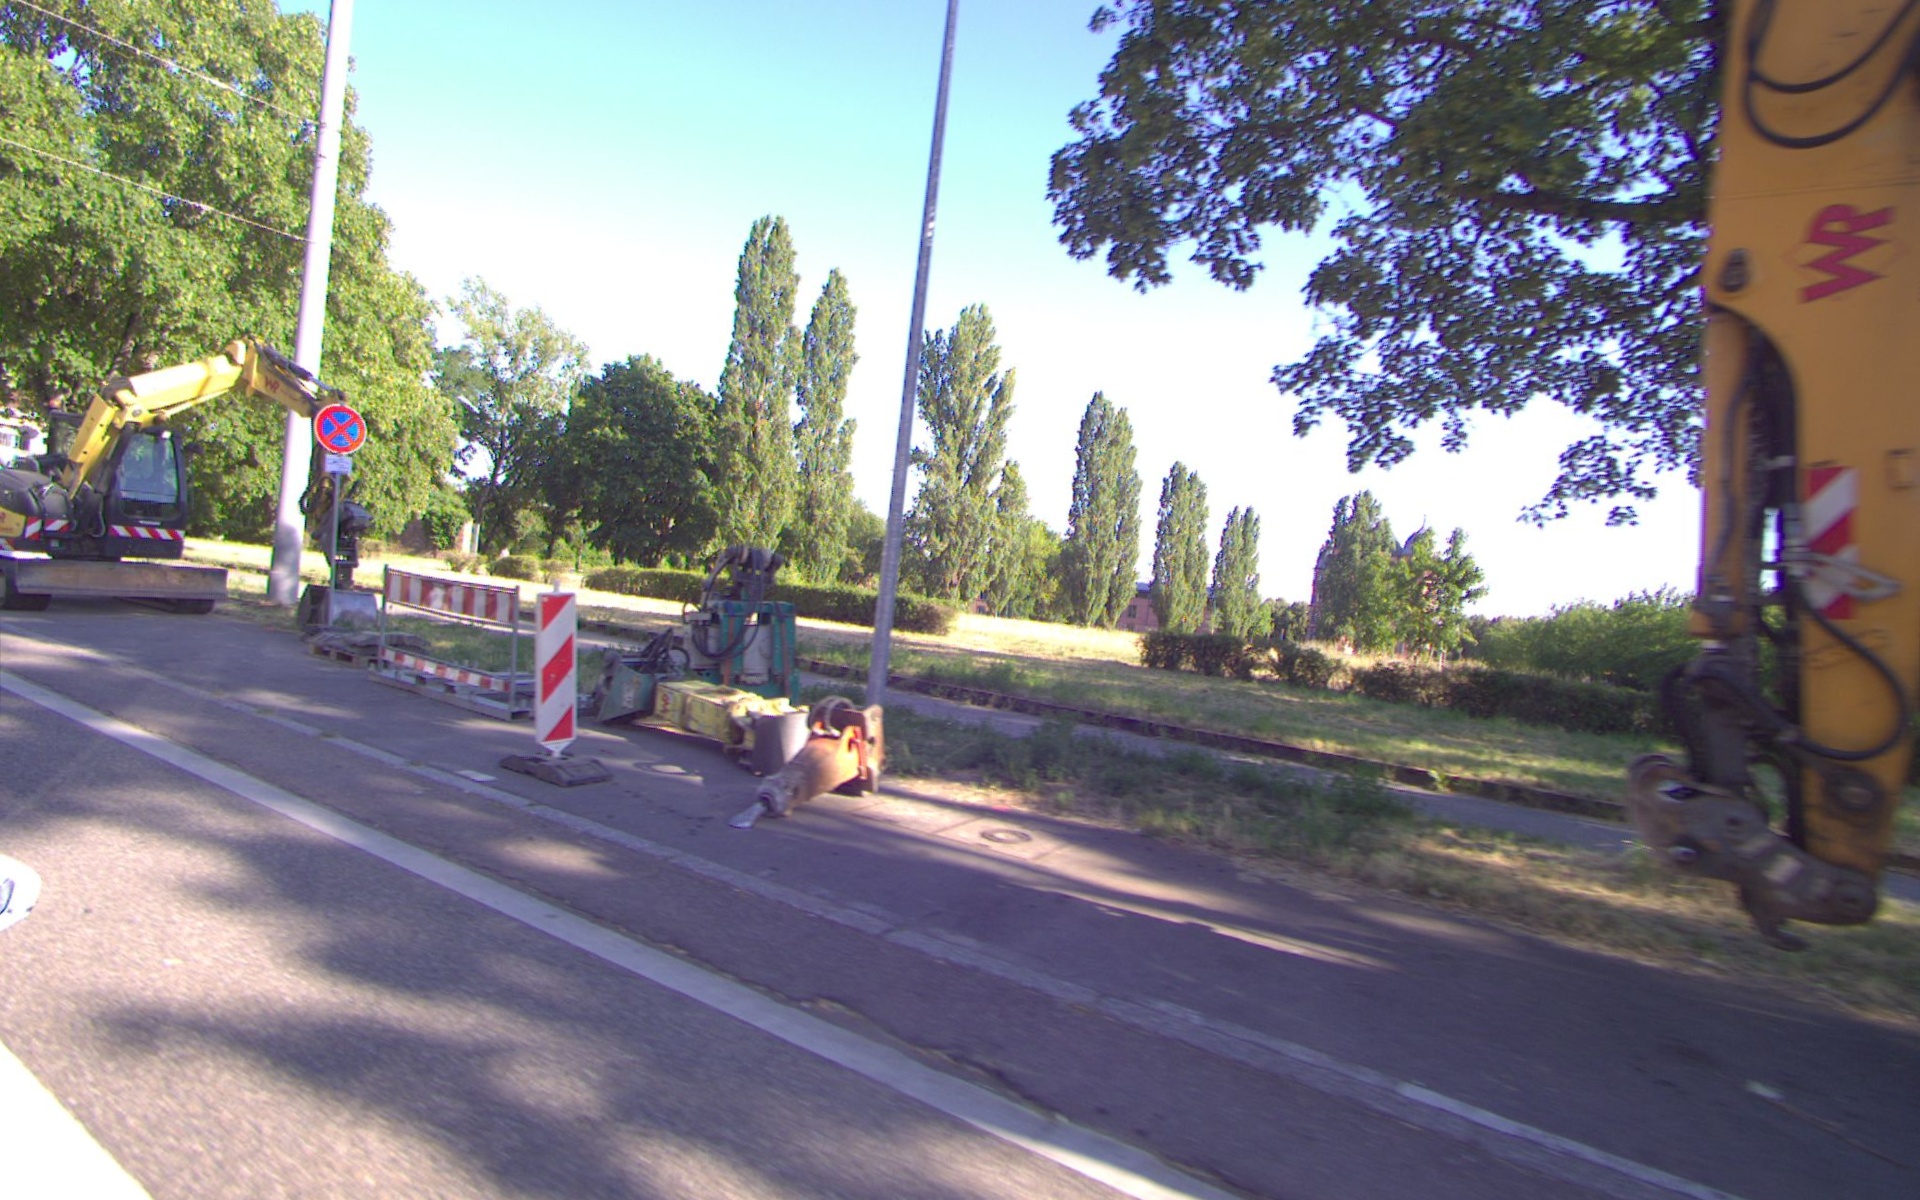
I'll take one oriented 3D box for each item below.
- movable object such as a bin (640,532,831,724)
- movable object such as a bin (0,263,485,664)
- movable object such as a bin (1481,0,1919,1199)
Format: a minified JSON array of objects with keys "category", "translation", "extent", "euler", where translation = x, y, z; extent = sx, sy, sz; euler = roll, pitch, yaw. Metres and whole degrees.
[{"category":"movable object such as a bin","translation":[-2.233,0.218,10.030],"extent":[1.282,1.693,1.314],"euler":[7,6,36]},{"category":"movable object such as a bin","translation":[-10.308,-1.683,13.505],"extent":[7.471,4.031,3.339],"euler":[7,3,31]},{"category":"movable object such as a bin","translation":[5.609,-0.161,2.108],"extent":[7.471,4.674,2.914],"euler":[7,3,31]}]
